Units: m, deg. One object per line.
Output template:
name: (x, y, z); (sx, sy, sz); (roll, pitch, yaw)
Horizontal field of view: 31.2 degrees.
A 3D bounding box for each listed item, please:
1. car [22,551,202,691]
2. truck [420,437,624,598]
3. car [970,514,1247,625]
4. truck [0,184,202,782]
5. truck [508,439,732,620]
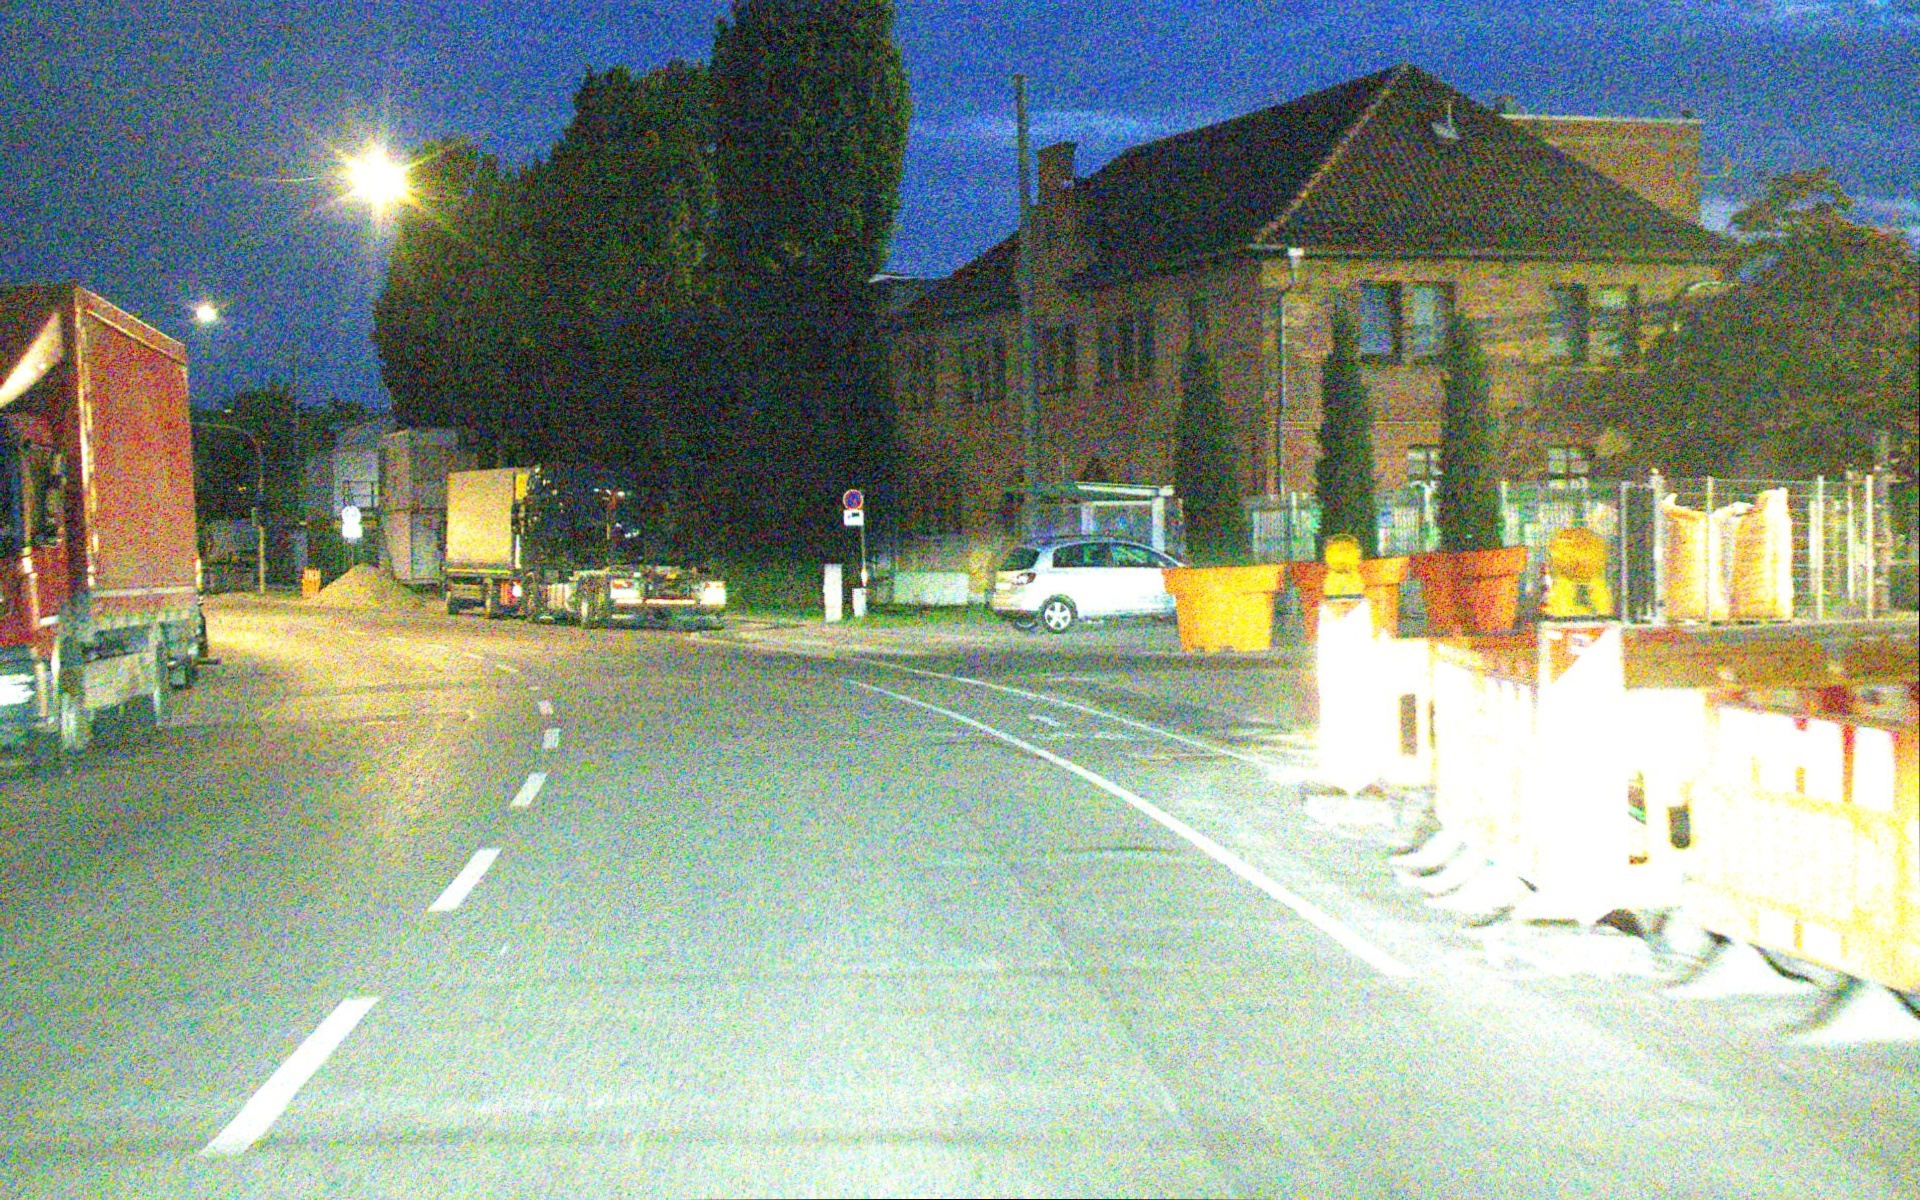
car: (-10.346, 0.211, 42.207); (1.866, 1.587, 4.496); (-1, 1, -10)
truck: (-11.097, -2.031, 86.147); (2.754, 3.770, 10.228); (-1, 1, -20)
car: (2.561, -0.555, 59.354); (4.325, 1.640, 1.893); (-4, 2, -21)
truck: (-8.152, -0.871, 28.139); (2.772, 4.106, 9.343); (-1, 1, -6)
truck: (-7.698, -1.550, 76.523); (2.754, 3.770, 9.140); (-1, 1, -20)
